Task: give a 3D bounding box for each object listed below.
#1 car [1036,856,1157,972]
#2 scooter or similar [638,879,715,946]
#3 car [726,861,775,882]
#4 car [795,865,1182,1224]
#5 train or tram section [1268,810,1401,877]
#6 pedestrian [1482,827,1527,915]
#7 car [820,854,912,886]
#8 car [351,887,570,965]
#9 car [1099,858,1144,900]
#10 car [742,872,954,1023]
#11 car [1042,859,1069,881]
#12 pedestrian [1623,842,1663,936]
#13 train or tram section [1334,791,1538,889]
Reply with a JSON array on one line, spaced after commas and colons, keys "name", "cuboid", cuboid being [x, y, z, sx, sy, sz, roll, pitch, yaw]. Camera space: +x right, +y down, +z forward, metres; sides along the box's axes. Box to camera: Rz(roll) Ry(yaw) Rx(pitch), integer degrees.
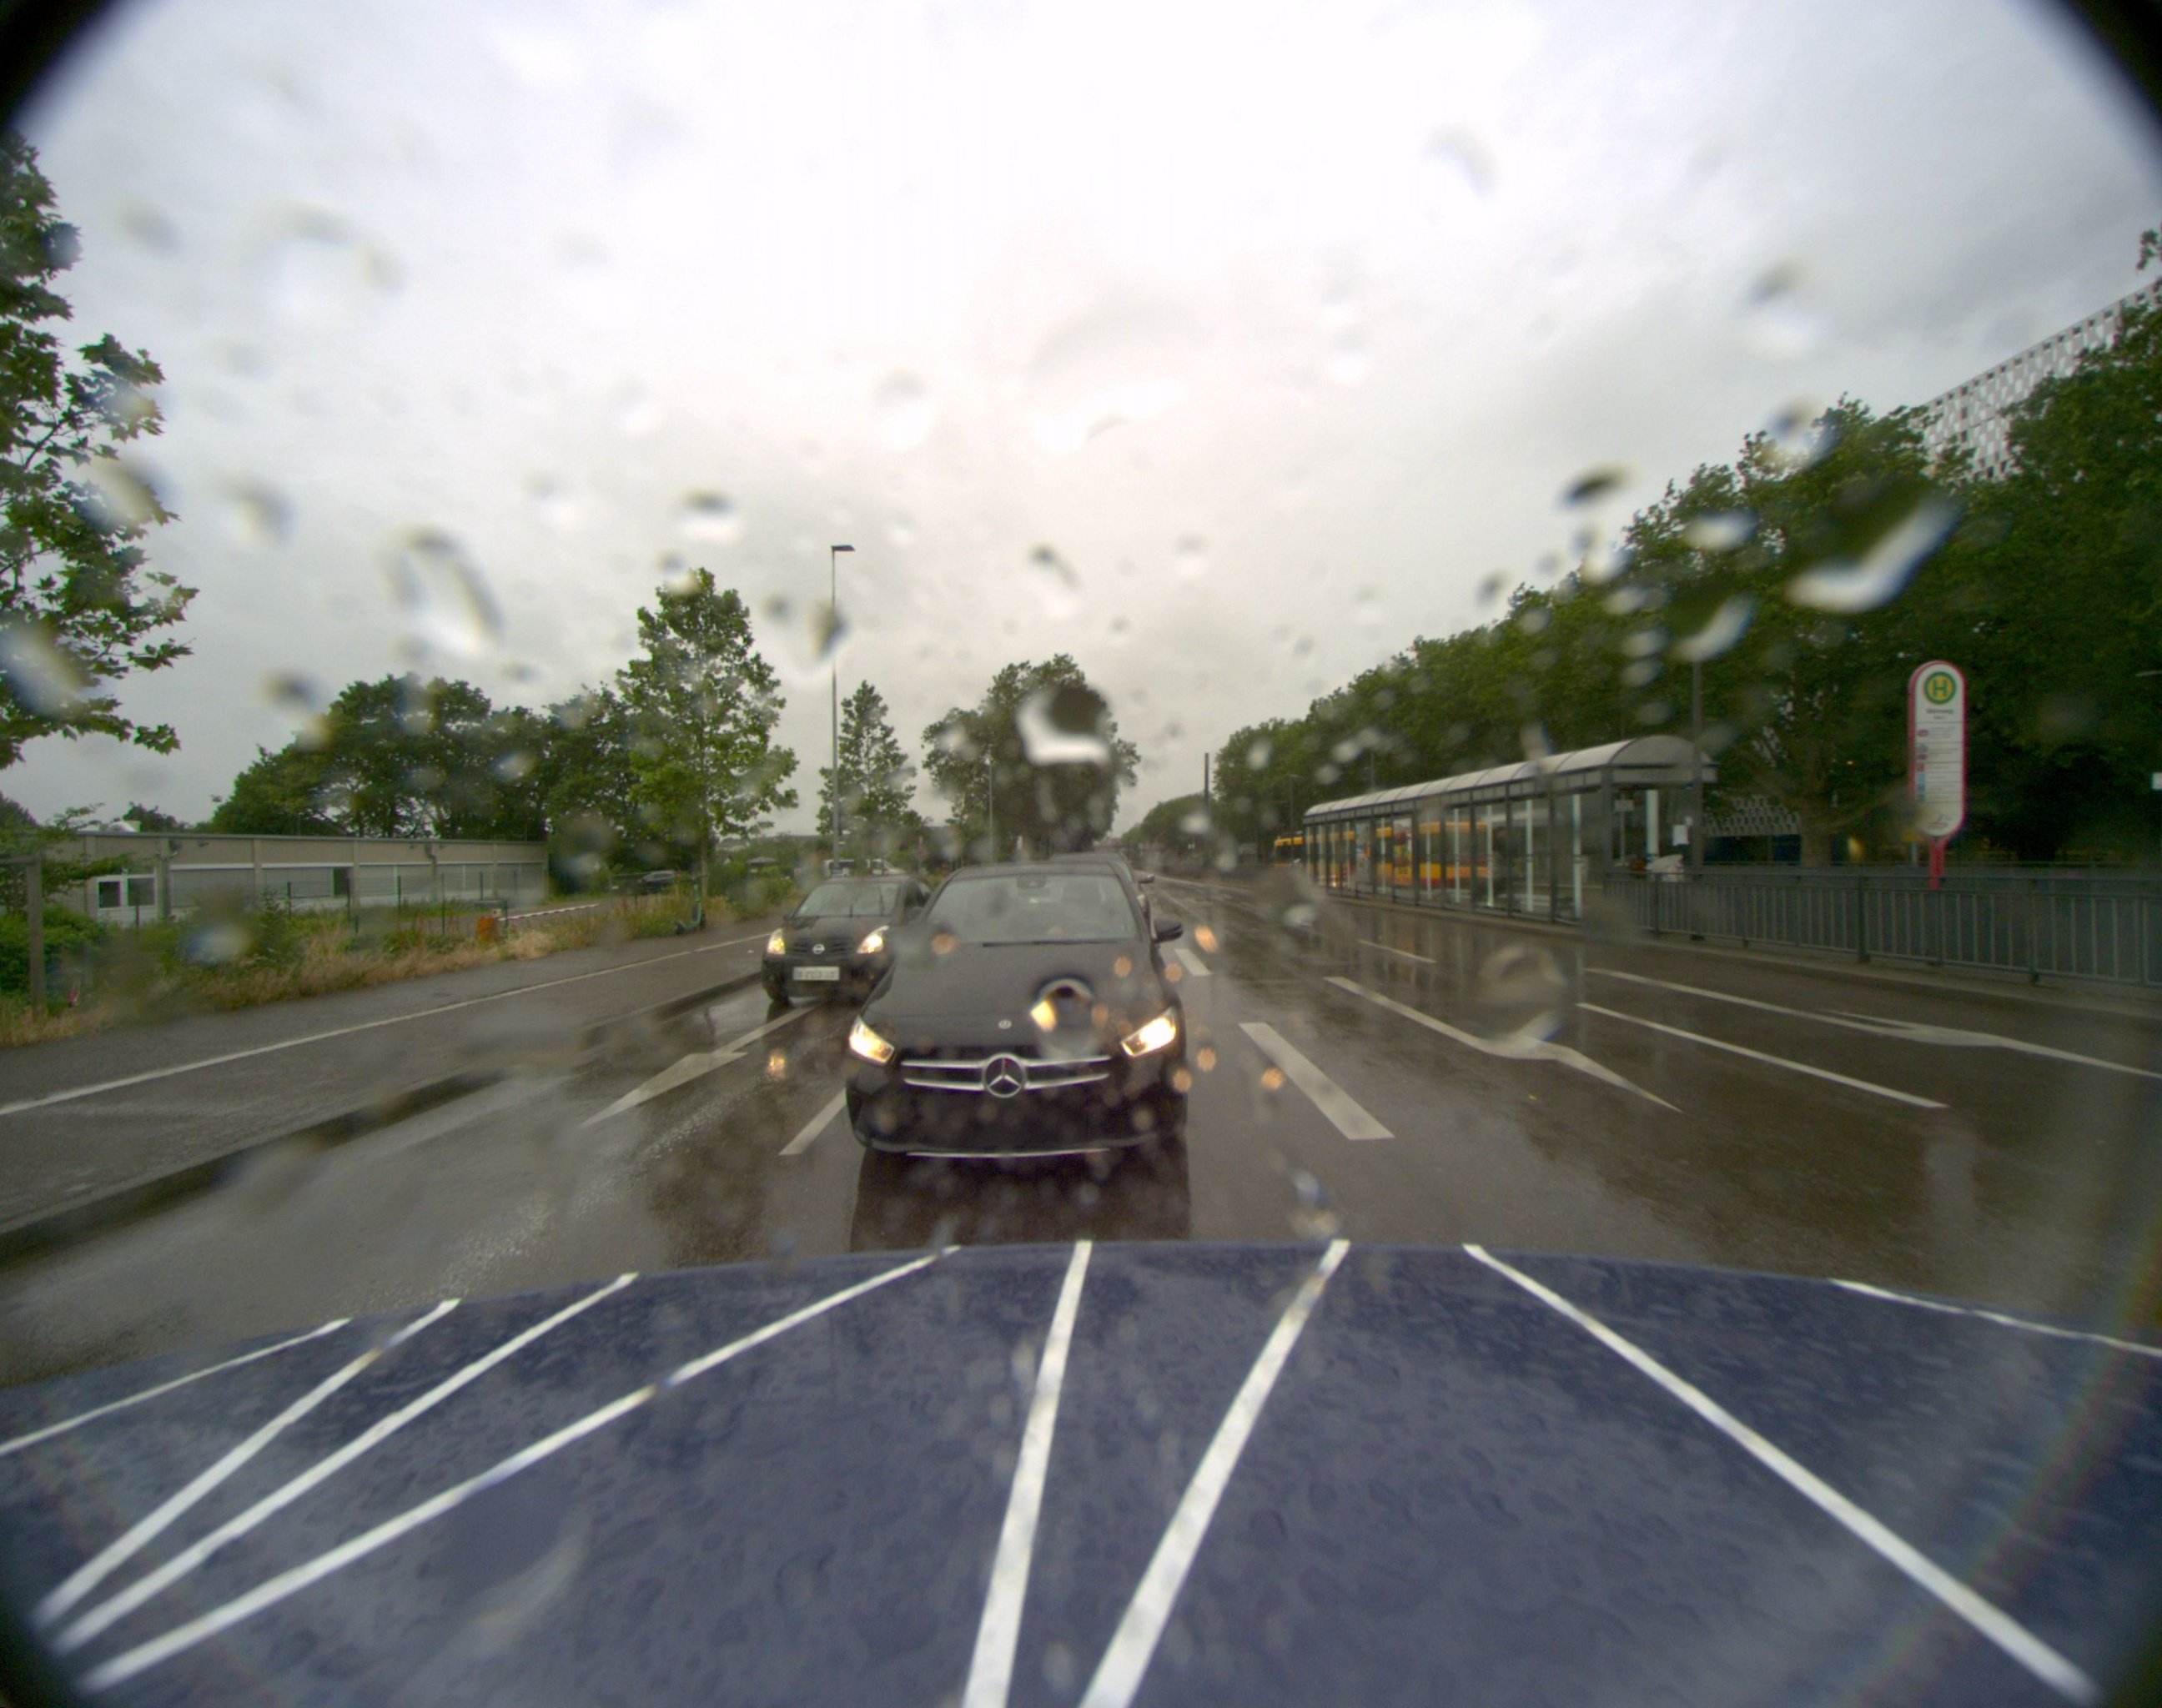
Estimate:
[{"name": "car", "cuboid": [0.274, 0.859, 12.739, 1.689, 1.611, 4.000, -1, 0, 2]}, {"name": "scooter or similar", "cuboid": [-8.192, 1.160, 15.478, 0.367, 1.192, 1.913, -2, 1, 4]}, {"name": "car", "cuboid": [-28.238, 1.477, 65.012, 3.552, 1.574, 1.345, -3, 1, 6]}, {"name": "car", "cuboid": [-0.221, 0.917, 5.566, 1.758, 1.572, 4.171, -2, 0, 6]}, {"name": "train or tram section", "cuboid": [16.633, -0.660, 51.888, 3.751, 3.777, 15.569, -3, 0, 0]}, {"name": "pedestrian", "cuboid": [9.286, 0.361, 16.697, 0.655, 1.860, 0.773, -2, 1, 17]}, {"name": "car", "cuboid": [-13.551, 1.000, 48.111, 5.174, 1.715, 2.006, -3, 1, -1]}, {"name": "car", "cuboid": [-12.029, 1.380, 14.818, 3.243, 1.281, 1.345, -3, 1, 6]}, {"name": "car", "cuboid": [1.627, 0.968, 31.322, 1.557, 1.541, 3.717, -3, 0, 0]}, {"name": "car", "cuboid": [-2.813, 1.052, 9.989, 1.557, 1.500, 3.618, -2, 0, 1]}, {"name": "car", "cuboid": [-1.683, 1.039, 51.245, 1.617, 1.301, 3.717, -3, 0, 1]}, {"name": "pedestrian", "cuboid": [9.164, 0.562, 12.401, 0.321, 1.485, 0.415, -3, 2, 6]}, {"name": "train or tram section", "cuboid": [16.615, -0.596, 37.473, 3.751, 3.817, 13.253, -3, 0, 0]}]
